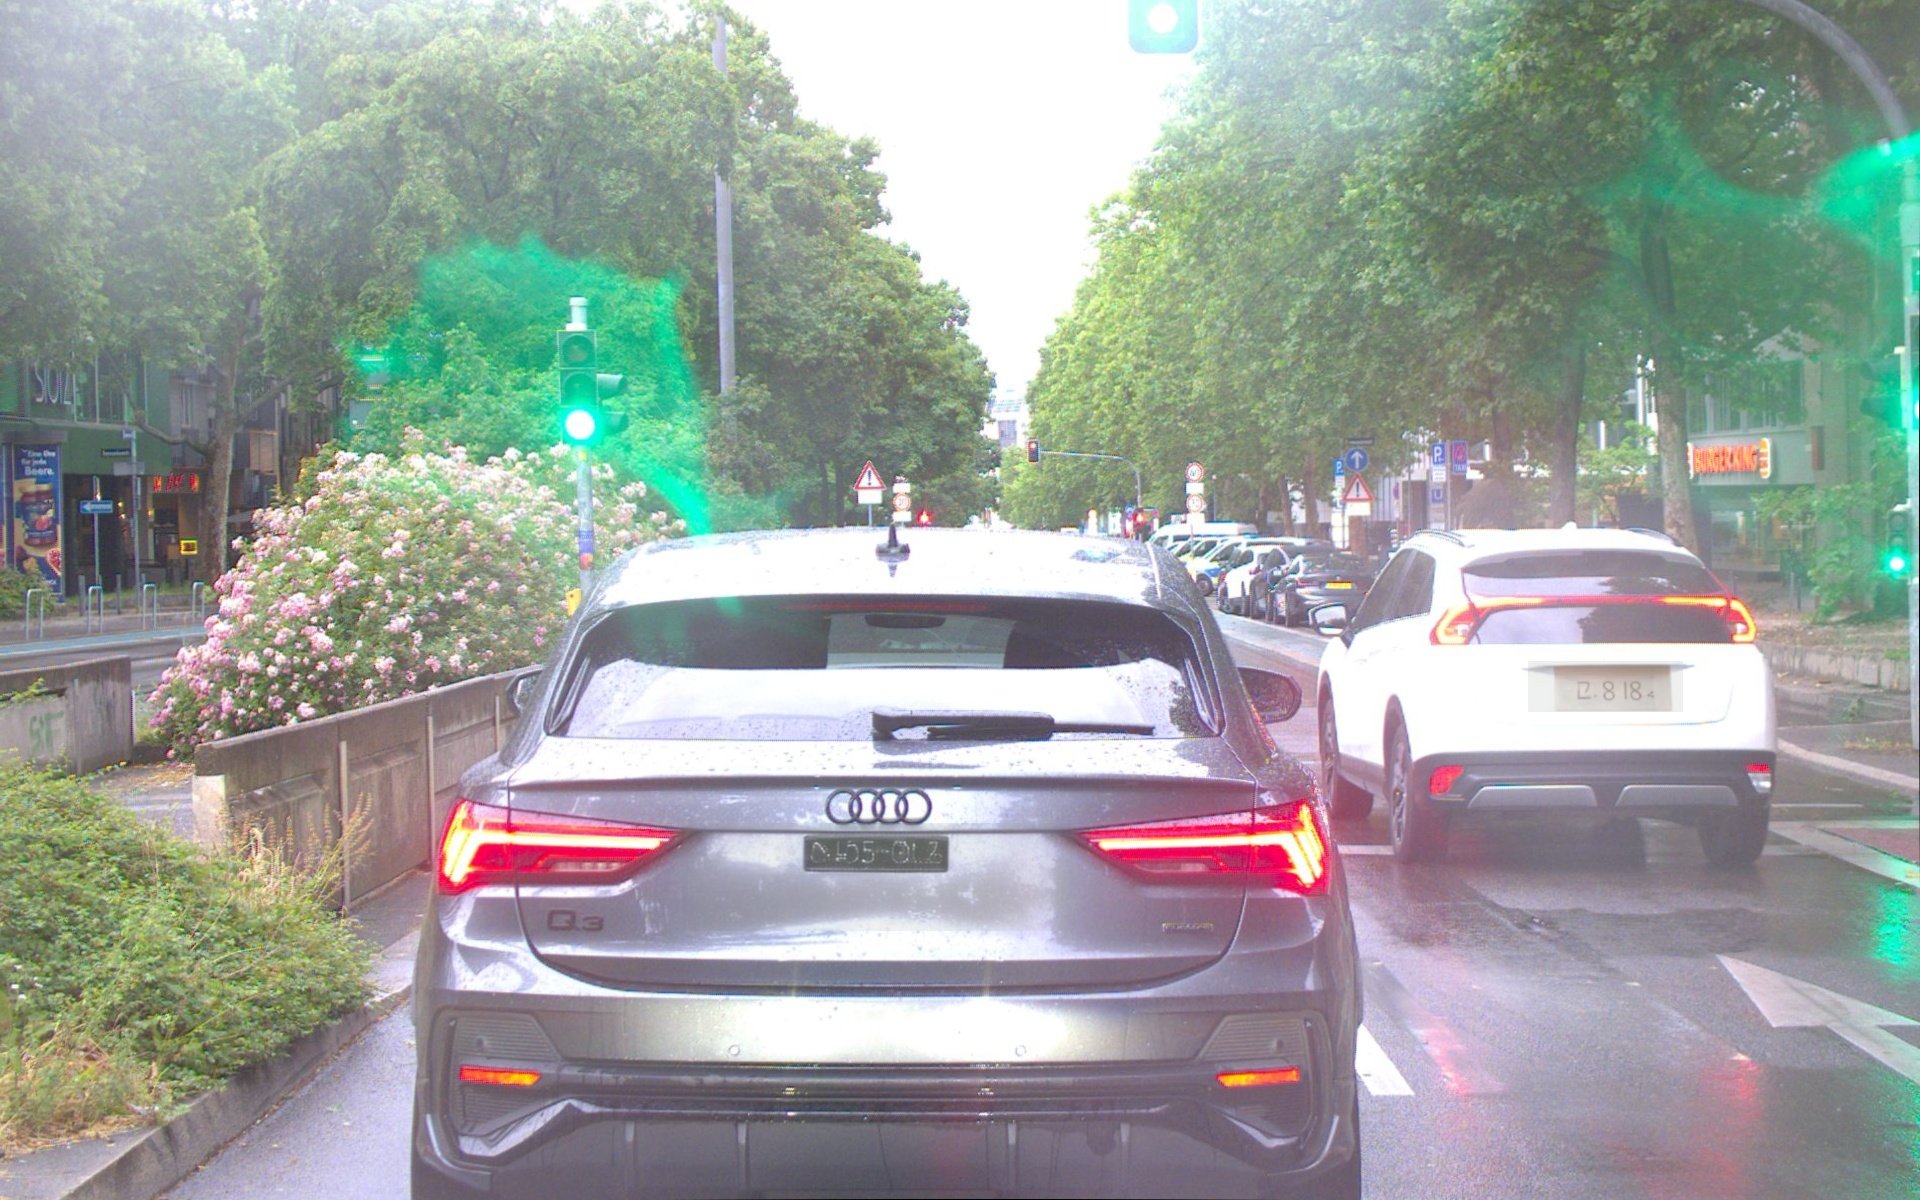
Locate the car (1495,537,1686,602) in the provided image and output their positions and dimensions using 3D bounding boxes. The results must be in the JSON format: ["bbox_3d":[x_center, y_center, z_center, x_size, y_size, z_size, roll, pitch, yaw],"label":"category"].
[{"bbox_3d":[10.825,-0.519,59.043,2.889,1.071,1.453,1,0,32],"label":"car"}]

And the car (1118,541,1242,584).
[{"bbox_3d":[8.998,-1.539,140.553,4.646,1.700,1.997,1,0,28],"label":"car"}]

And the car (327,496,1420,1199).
[{"bbox_3d":[-0.171,0.593,7.829,1.849,1.596,4.000,0,1,-1],"label":"car"}]

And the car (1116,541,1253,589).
[{"bbox_3d":[8.300,-1.311,127.318,4.646,1.700,1.997,1,0,28],"label":"car"}]

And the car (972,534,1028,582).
[{"bbox_3d":[1.486,-1.545,127.865,1.993,1.721,4.000,1,0,0],"label":"car"}]

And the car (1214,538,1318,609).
[{"bbox_3d":[7.003,-0.604,79.048,1.727,1.566,4.074,1,0,-4],"label":"car"}]

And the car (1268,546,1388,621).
[{"bbox_3d":[7.266,-0.345,68.190,1.873,1.416,4.611,1,1,0],"label":"car"}]

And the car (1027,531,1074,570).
[{"bbox_3d":[3.956,-2.159,150.958,1.993,1.645,4.000,1,0,1],"label":"car"}]

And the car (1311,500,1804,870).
[{"bbox_3d":[2.983,0.382,17.986,1.878,1.691,4.000,1,0,0],"label":"car"}]

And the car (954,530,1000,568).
[{"bbox_3d":[0.718,-2.212,148.911,1.896,1.593,3.939,1,0,-1],"label":"car"}]

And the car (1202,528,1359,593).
[{"bbox_3d":[10.137,-1.258,108.928,4.602,2.007,1.964,1,0,39],"label":"car"}]

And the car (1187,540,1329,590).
[{"bbox_3d":[10.661,-1.262,122.967,4.646,1.700,1.997,1,0,28],"label":"car"}]
